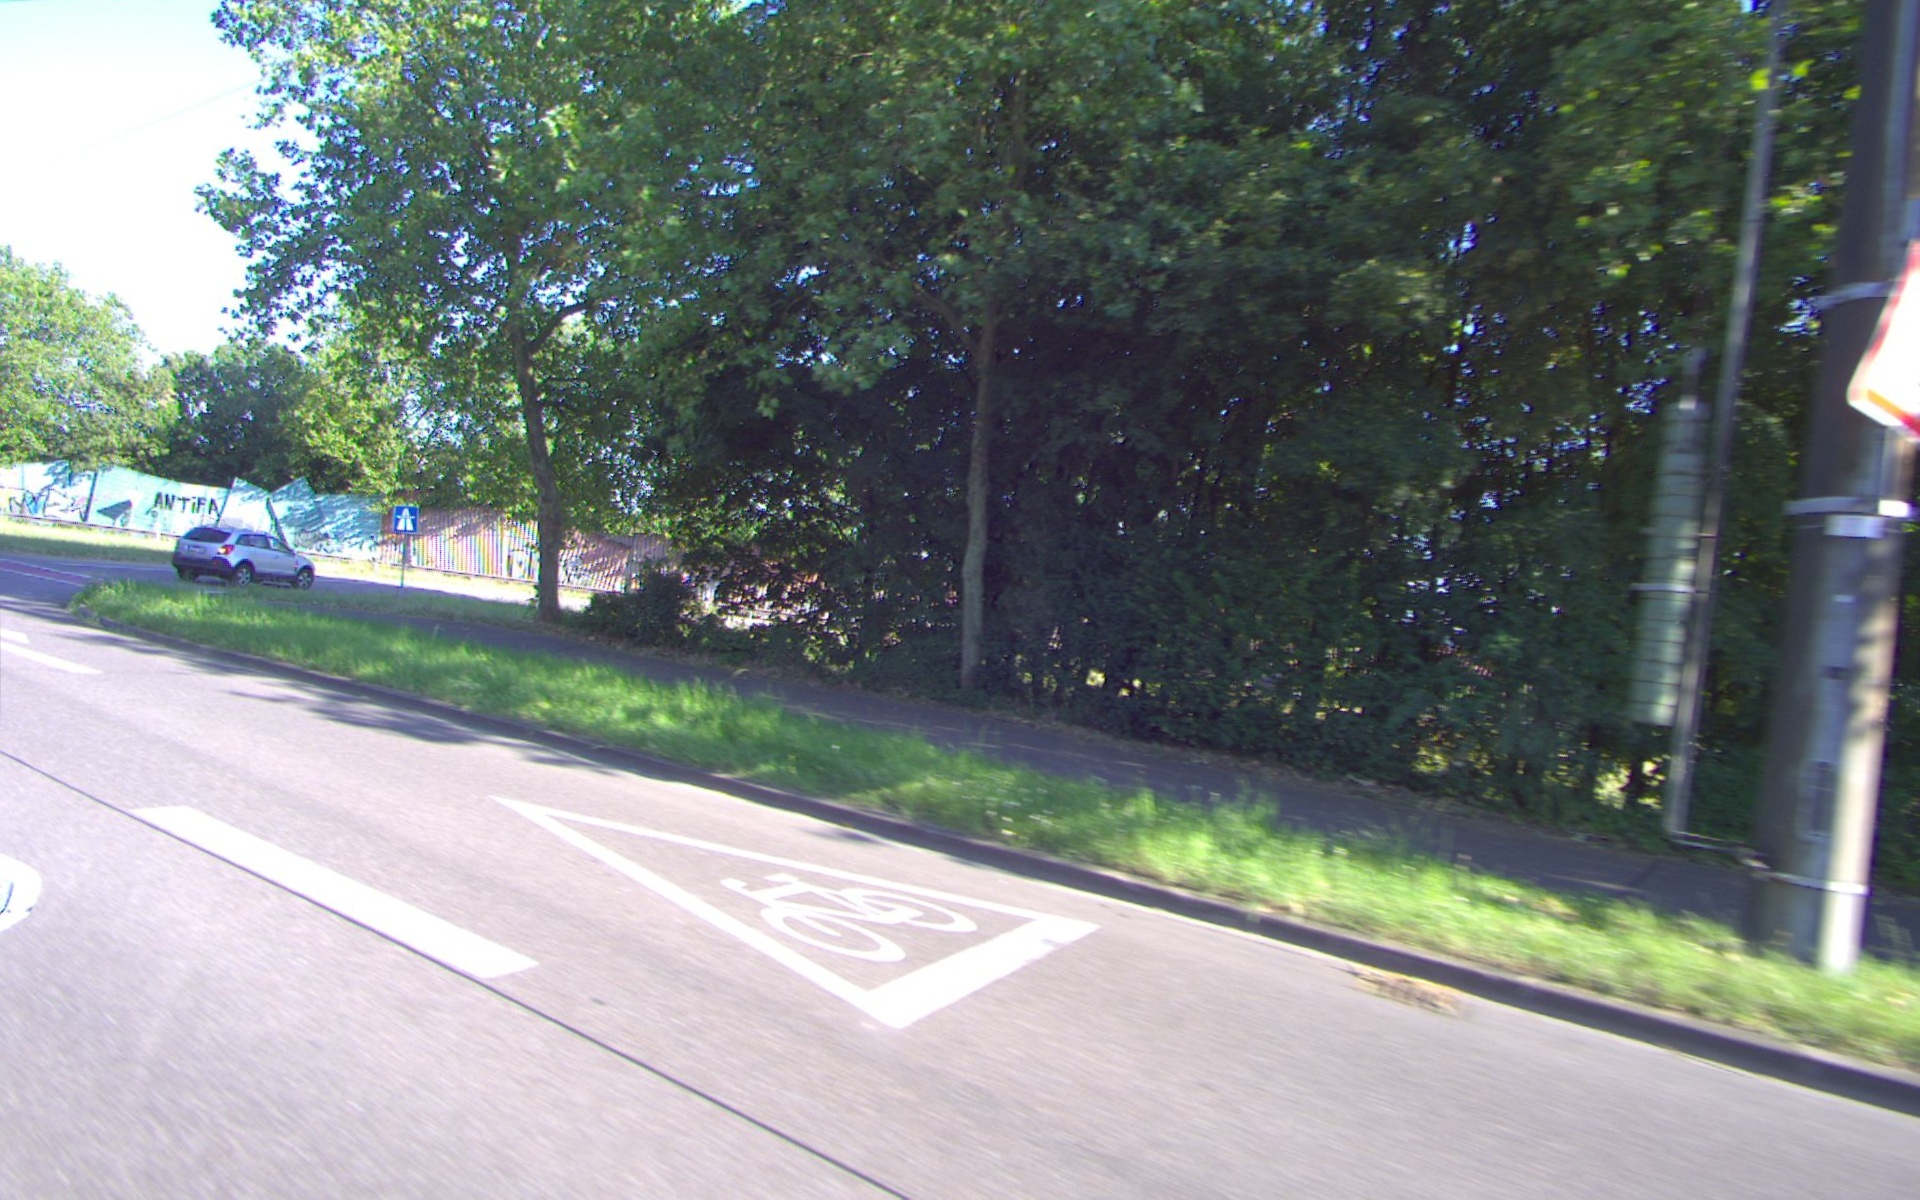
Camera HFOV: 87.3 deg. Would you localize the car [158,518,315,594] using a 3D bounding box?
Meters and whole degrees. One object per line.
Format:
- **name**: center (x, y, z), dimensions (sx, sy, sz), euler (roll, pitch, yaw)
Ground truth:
- **car**: center (-22.096, -1.281, 30.934), dimensions (1.781, 1.793, 3.865), euler (7, -2, 2)
